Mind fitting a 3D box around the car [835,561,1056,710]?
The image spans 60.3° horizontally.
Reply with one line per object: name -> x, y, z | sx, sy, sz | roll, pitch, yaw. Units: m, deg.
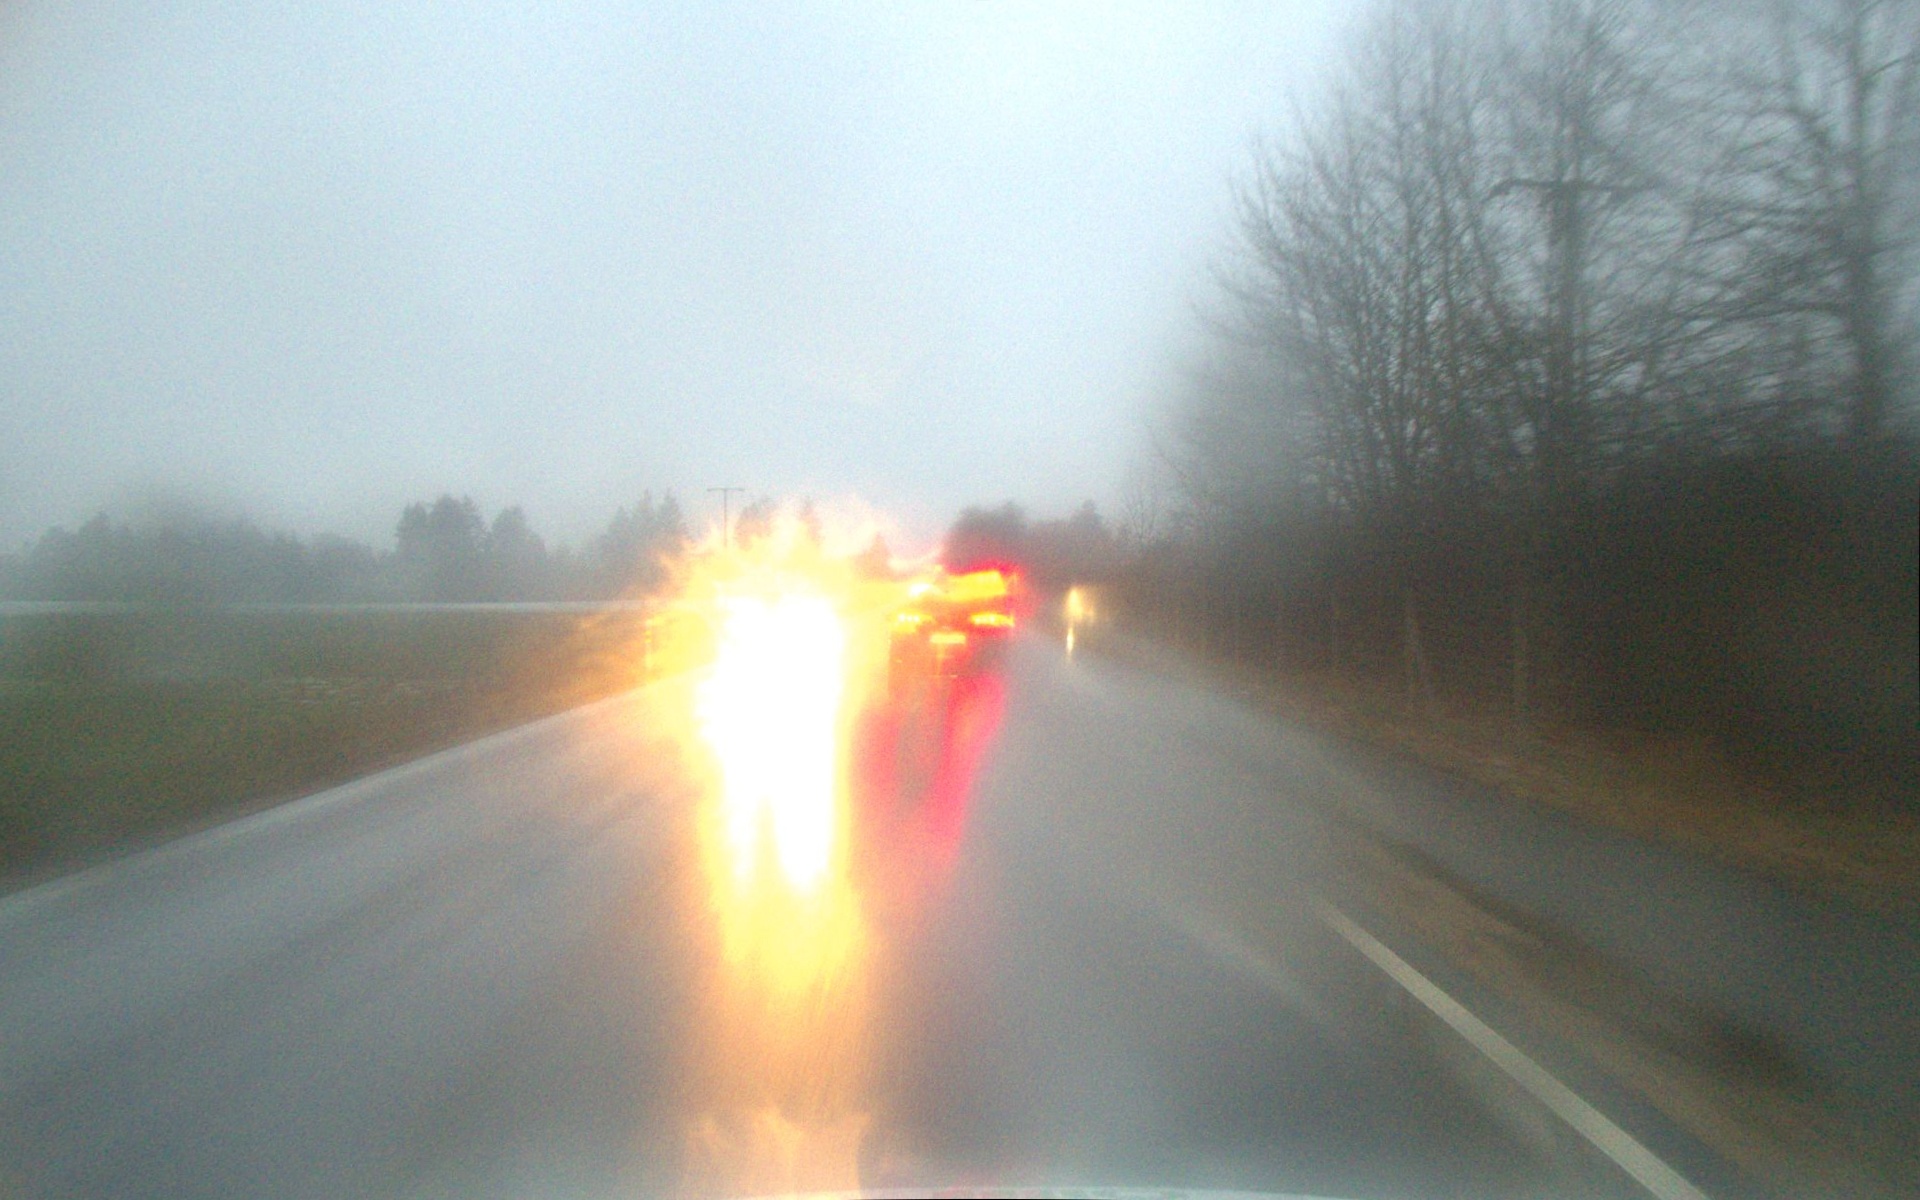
car -> -0.233, 0.473, 26.810 | 3.100, 2.071, 6.851 | -1, 1, -1

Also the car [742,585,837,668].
car -> -3.790, 0.574, 37.373 | 1.802, 1.751, 3.955 | 1, 0, -2
